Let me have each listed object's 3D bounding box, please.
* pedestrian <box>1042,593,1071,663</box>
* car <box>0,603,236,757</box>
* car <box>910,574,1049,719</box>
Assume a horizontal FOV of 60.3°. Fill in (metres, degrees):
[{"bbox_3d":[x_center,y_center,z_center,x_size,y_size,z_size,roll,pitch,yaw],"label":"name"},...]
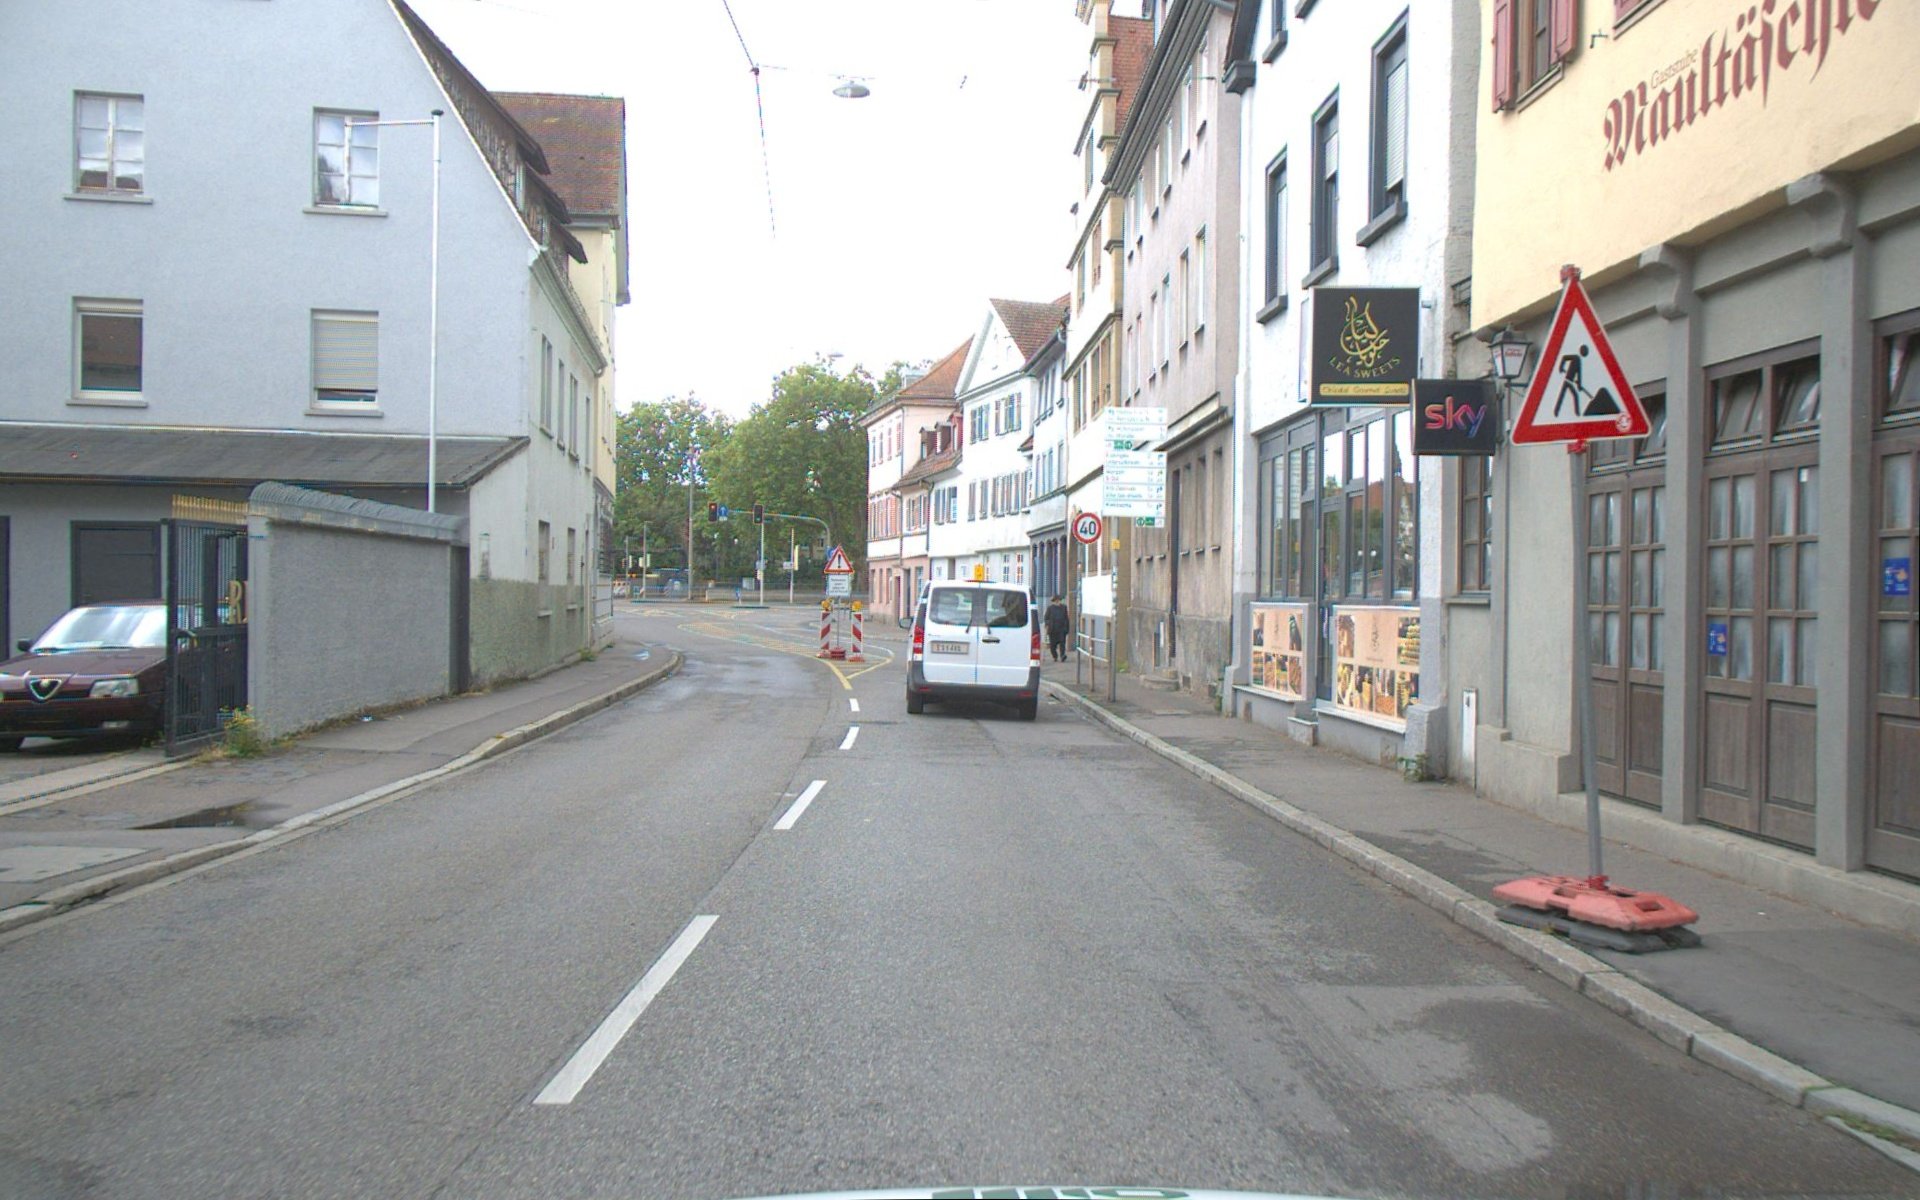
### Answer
[{"bbox_3d":[2.472,0.709,42.358,0.630,1.777,0.562,1,-1,-5],"label":"pedestrian"},{"bbox_3d":[-8.583,0.725,16.818,1.618,1.378,3.984,1,0,-15],"label":"car"},{"bbox_3d":[0.204,0.629,24.417,1.835,1.945,3.998,0,0,-2],"label":"car"}]
